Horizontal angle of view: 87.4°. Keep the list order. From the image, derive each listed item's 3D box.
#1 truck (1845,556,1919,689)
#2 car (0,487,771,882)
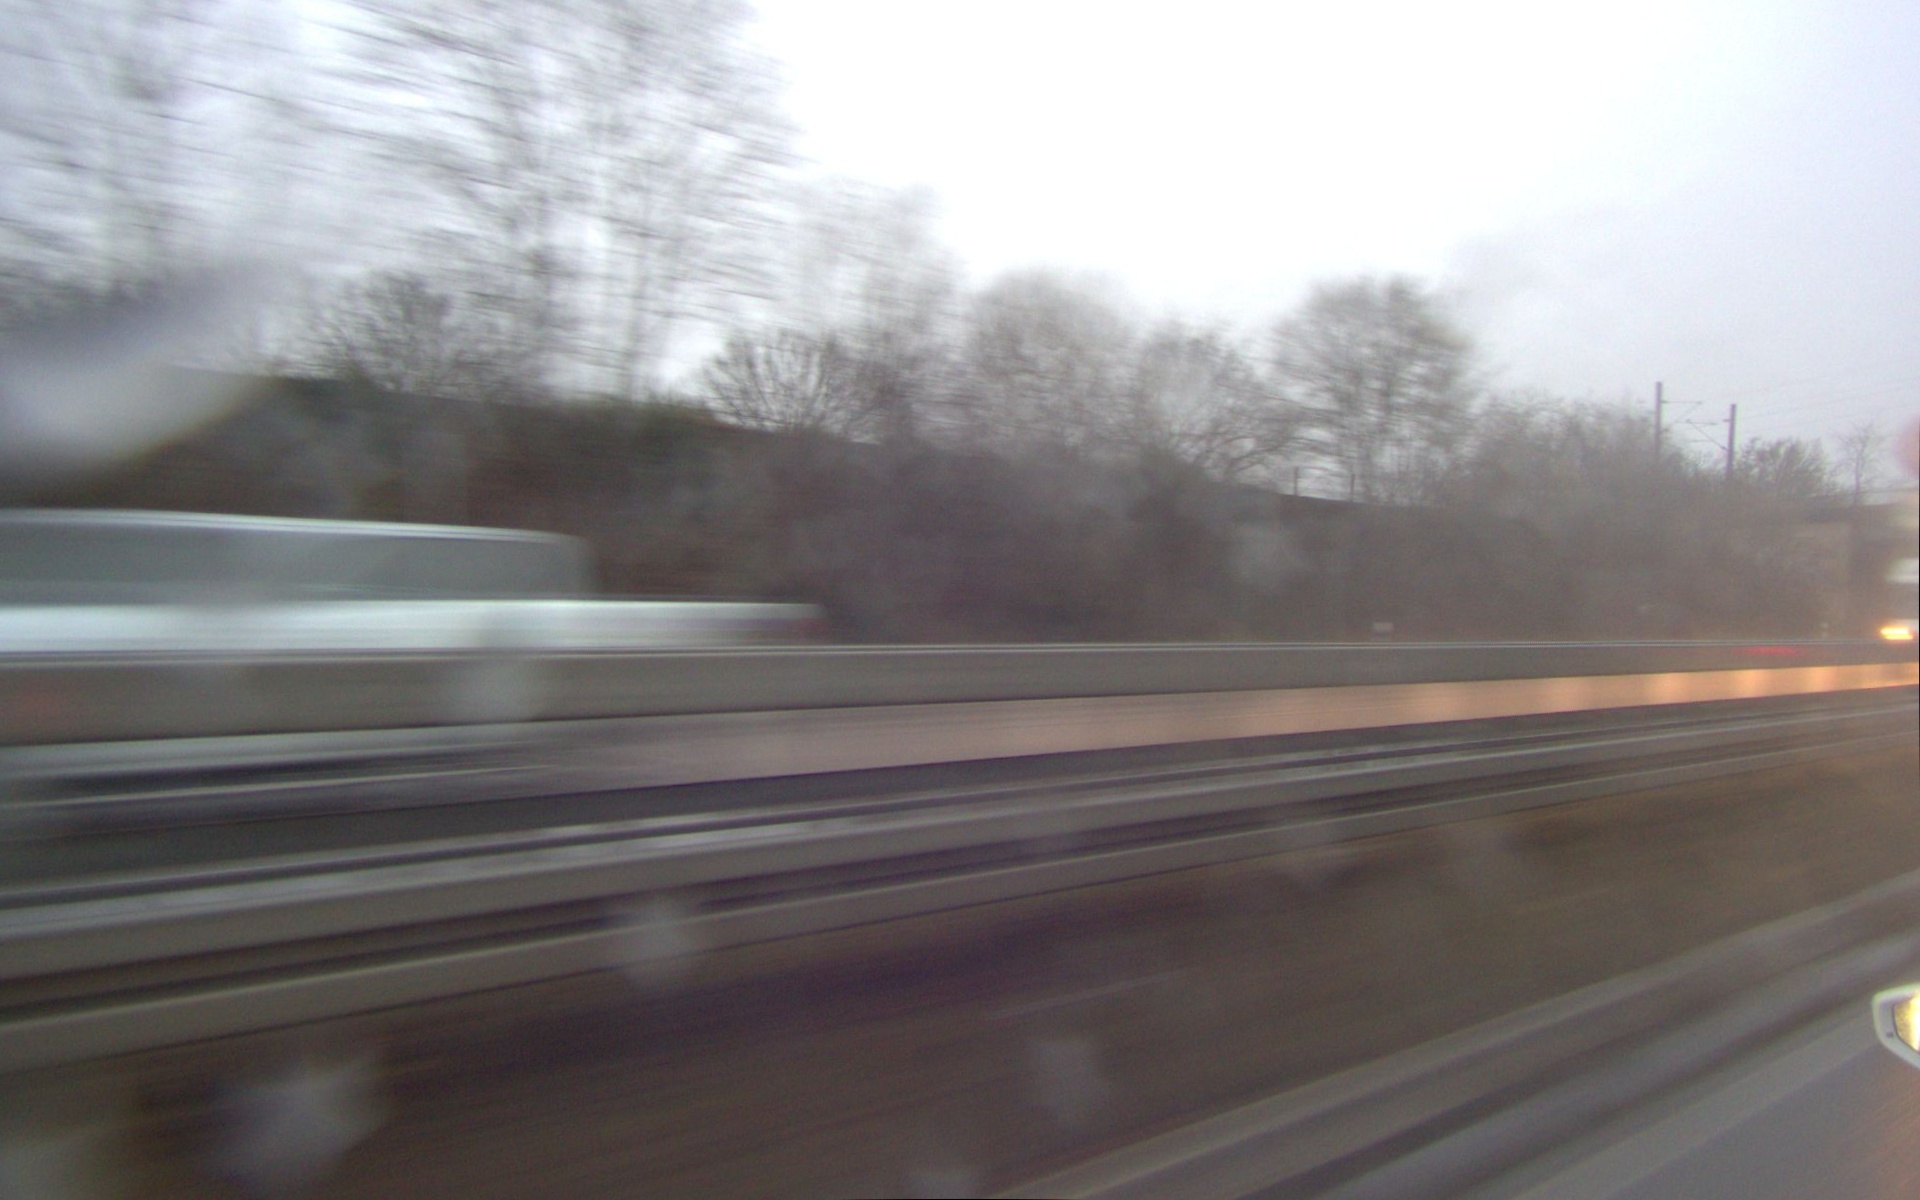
[{"bbox_3d":[26.241,0.665,26.182,7.646,3.202,2.699,2,0,-33],"label":"truck"},{"bbox_3d":[-3.943,0.418,6.187,5.059,1.855,1.977,2,0,-30],"label":"car"}]
